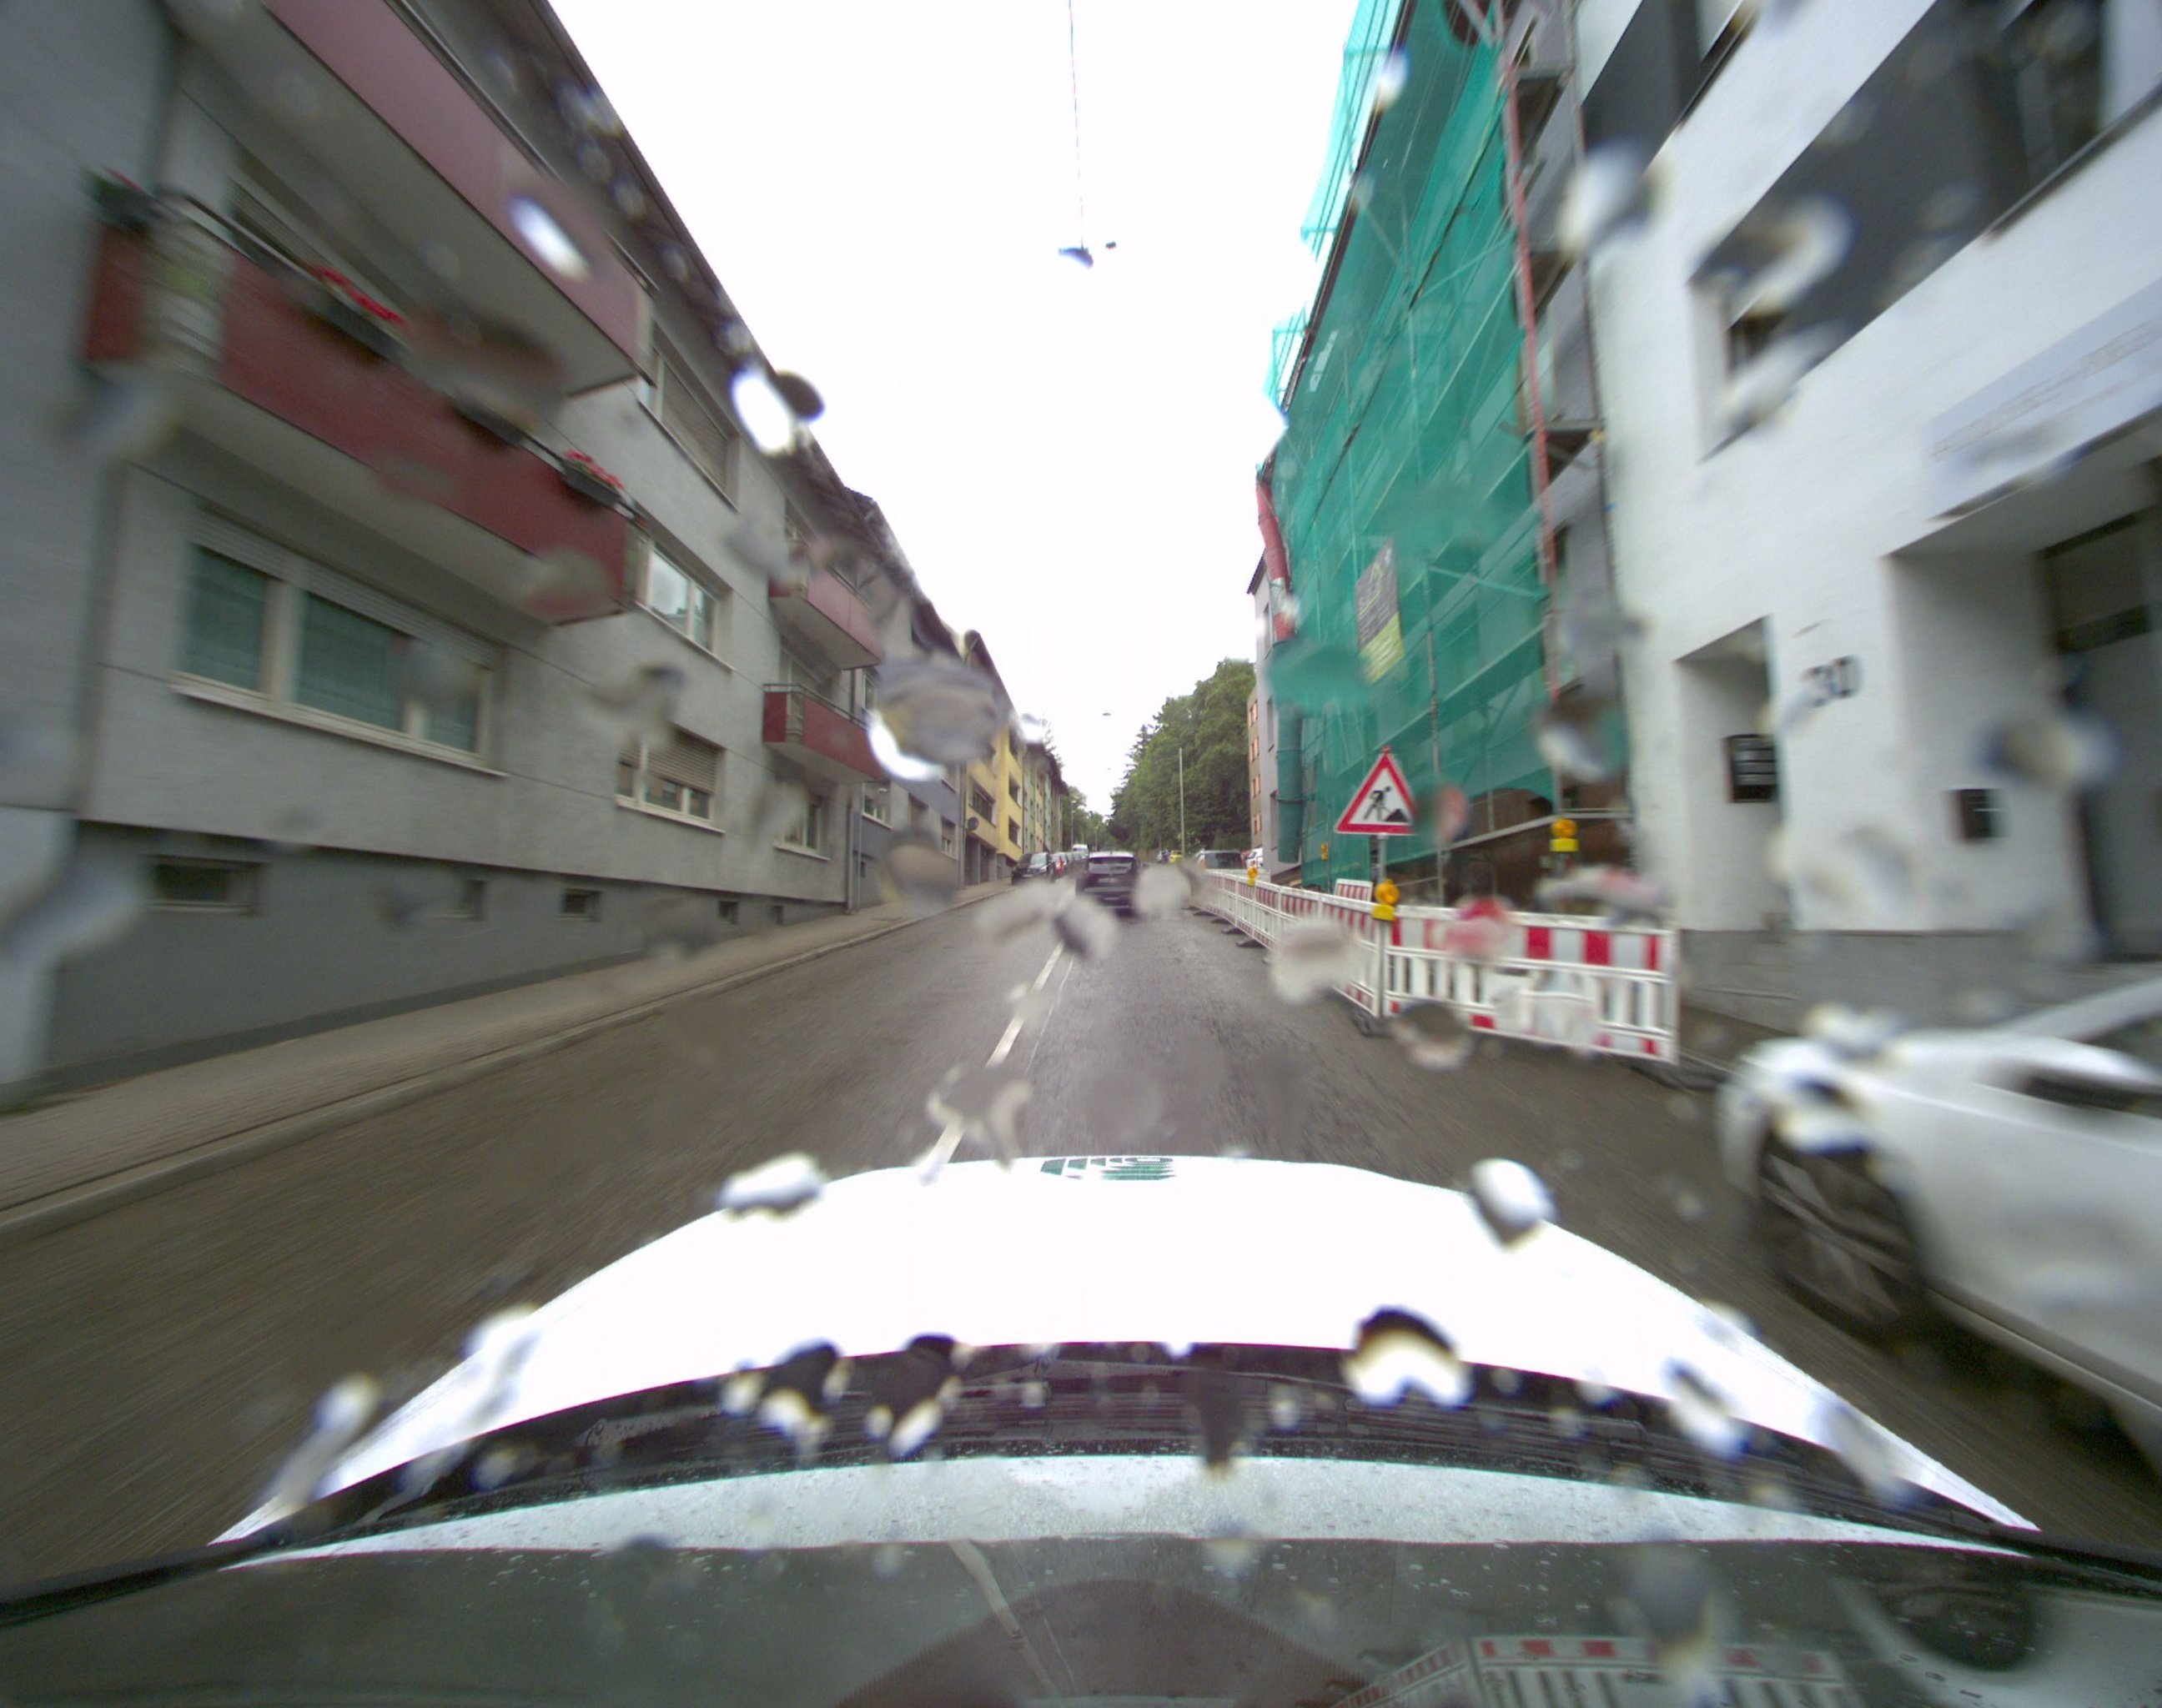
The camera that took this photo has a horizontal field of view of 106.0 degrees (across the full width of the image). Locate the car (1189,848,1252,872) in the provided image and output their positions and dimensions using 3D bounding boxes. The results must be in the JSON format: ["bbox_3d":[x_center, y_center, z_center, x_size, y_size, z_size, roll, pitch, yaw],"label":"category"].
[{"bbox_3d":[10.070,0.426,58.986,4.185,1.496,1.760,2,0,-1],"label":"car"}]

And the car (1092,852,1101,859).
[{"bbox_3d":[3.778,0.366,197.670,2.067,1.559,4.001,0,0,1],"label":"car"}]

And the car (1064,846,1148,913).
[{"bbox_3d":[0.678,0.592,21.579,1.986,1.559,4.002,1,1,2],"label":"car"}]

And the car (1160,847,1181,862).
[{"bbox_3d":[9.770,0.038,89.231,1.804,1.530,4.419,-3,0,2],"label":"car"}]

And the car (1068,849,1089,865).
[{"bbox_3d":[-0.232,0.333,84.885,1.983,1.585,4.306,-1,0,1],"label":"car"}]

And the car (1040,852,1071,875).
[{"bbox_3d":[-1.839,0.667,59.864,1.986,1.585,4.472,-1,0,1],"label":"car"}]

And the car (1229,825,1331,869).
[{"bbox_3d":[9.552,-0.356,39.305,4.327,1.529,1.877,-7,0,0],"label":"car"}]

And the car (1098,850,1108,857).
[{"bbox_3d":[4.673,-0.098,172.424,2.067,1.559,4.000,0,0,1],"label":"car"}]

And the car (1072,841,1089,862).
[{"bbox_3d":[-0.035,-0.331,97.977,1.983,2.474,5.785,-1,0,1],"label":"car"}]

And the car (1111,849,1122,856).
[{"bbox_3d":[7.635,-0.310,176.239,2.068,1.559,3.998,0,0,-1],"label":"car"}]

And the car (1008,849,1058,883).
[{"bbox_3d":[-2.467,0.567,42.673,1.984,1.650,4.447,-1,0,4],"label":"car"}]

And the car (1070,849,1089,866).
[{"bbox_3d":[-0.180,0.336,90.610,1.983,1.755,4.481,-1,0,1],"label":"car"}]

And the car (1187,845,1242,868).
[{"bbox_3d":[10.945,0.171,66.800,4.187,1.734,1.759,2,0,-2],"label":"car"}]

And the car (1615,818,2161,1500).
[{"bbox_3d":[3.389,0.689,1.583,1.986,1.512,4.339,1,0,2],"label":"car"}]

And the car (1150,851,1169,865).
[{"bbox_3d":[9.599,0.479,99.884,1.805,1.530,4.416,-3,0,0],"label":"car"}]

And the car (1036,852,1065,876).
[{"bbox_3d":[-1.967,0.622,53.168,1.722,1.472,3.492,-1,0,1],"label":"car"}]

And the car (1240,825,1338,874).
[{"bbox_3d":[9.327,-0.202,36.691,3.814,1.702,1.728,-7,0,0],"label":"car"}]

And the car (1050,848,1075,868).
[{"bbox_3d":[-1.466,0.296,67.152,1.847,1.585,4.306,-1,0,1],"label":"car"}]

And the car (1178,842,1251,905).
[{"bbox_3d":[4.052,0.517,25.212,1.634,1.762,4.001,1,1,1],"label":"car"}]

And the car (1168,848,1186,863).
[{"bbox_3d":[9.694,0.148,82.262,1.625,1.530,4.005,1,0,4],"label":"car"}]

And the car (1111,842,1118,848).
[{"bbox_3d":[9.973,-2.550,242.415,1.984,1.560,4.004,-1,-2,4],"label":"car"}]
